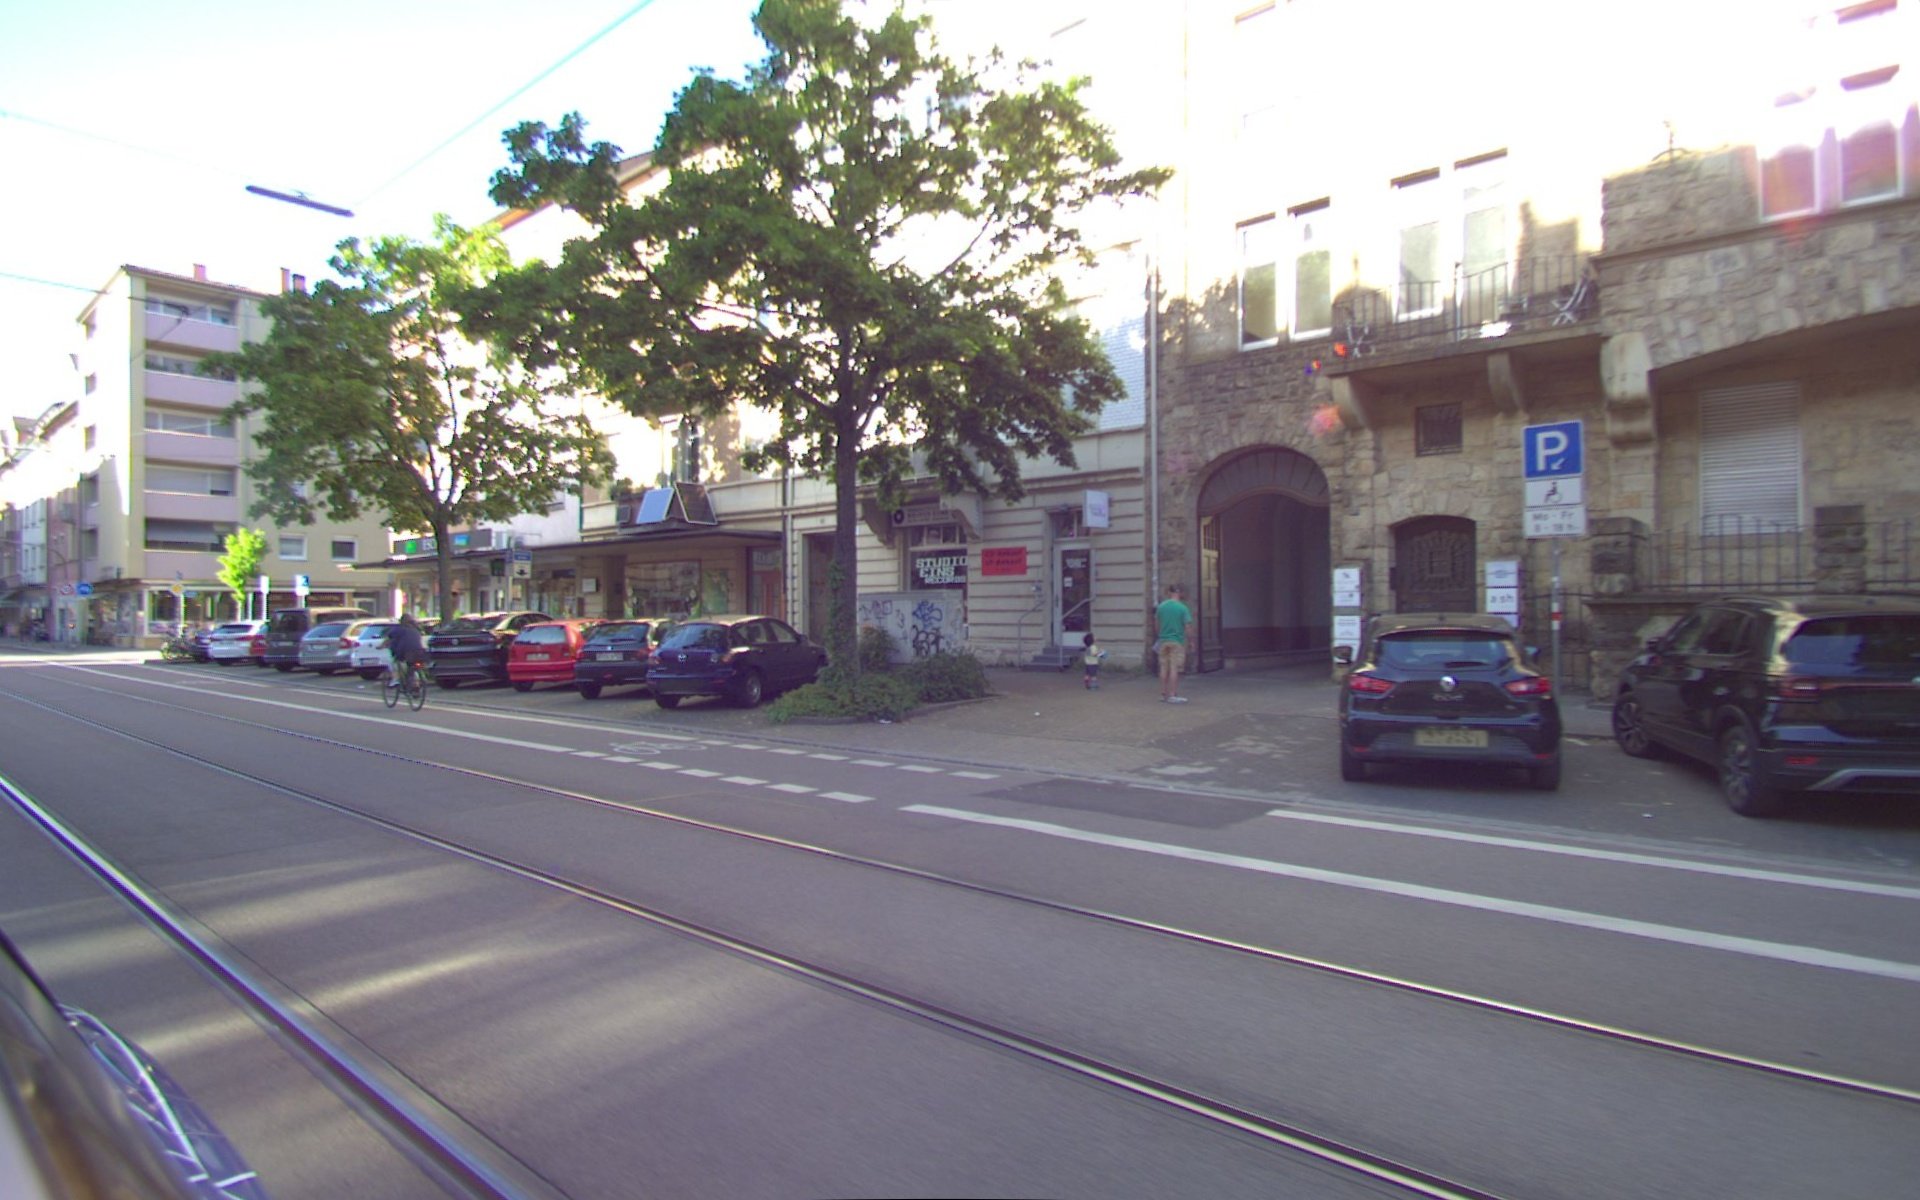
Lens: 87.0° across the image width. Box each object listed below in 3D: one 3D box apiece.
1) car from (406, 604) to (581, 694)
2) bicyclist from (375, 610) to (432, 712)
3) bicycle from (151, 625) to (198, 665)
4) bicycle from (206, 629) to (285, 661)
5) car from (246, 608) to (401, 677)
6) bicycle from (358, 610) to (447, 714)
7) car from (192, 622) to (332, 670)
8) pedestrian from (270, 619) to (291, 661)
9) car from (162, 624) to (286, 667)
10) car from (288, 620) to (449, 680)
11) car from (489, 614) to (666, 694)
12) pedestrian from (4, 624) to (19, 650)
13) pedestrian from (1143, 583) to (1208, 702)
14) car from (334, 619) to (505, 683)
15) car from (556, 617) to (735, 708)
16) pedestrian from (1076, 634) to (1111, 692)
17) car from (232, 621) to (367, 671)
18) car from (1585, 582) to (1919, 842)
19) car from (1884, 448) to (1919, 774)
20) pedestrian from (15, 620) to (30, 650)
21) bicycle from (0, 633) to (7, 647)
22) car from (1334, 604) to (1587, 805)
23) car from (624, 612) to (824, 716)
[{"bbox_3d":[-10.310,1.008,22.769,1.967,1.796,4.367,-1,0,-1],"label":"car"},{"bbox_3d":[-9.529,1.028,17.332,0.726,1.694,0.627,-1,0,41],"label":"bicyclist"},{"bbox_3d":[-27.769,1.608,35.757,2.431,1.329,0.675,-4,-2,37],"label":"bicycle"},{"bbox_3d":[-27.289,1.717,38.690,2.396,1.118,0.685,-2,-2,-9],"label":"bicycle"},{"bbox_3d":[-18.644,1.195,29.856,1.777,1.798,3.812,-1,1,10],"label":"car"},{"bbox_3d":[-9.627,1.023,17.442,2.096,1.691,0.673,-1,0,41],"label":"bicycle"},{"bbox_3d":[-23.026,1.483,33.566,1.734,1.410,3.783,-1,0,8],"label":"car"},{"bbox_3d":[-27.688,1.625,41.249,0.641,1.665,0.563,-1,0,41],"label":"pedestrian"},{"bbox_3d":[-25.669,1.559,35.425,1.605,1.347,3.464,-1,0,7],"label":"car"},{"bbox_3d":[-16.292,1.329,28.113,1.681,1.460,4.006,-1,0,11],"label":"car"},{"bbox_3d":[-7.997,1.078,21.584,1.846,1.500,3.990,-1,0,8],"label":"car"},{"bbox_3d":[-57.907,2.253,61.782,0.623,1.560,0.629,-1,0,40],"label":"pedestrian"},{"bbox_3d":[3.237,0.620,15.220,0.761,1.739,0.572,-1,0,40],"label":"pedestrian"},{"bbox_3d":[-13.762,1.252,26.002,1.749,1.440,3.826,-1,0,15],"label":"car"},{"bbox_3d":[-5.941,1.124,19.651,1.785,1.500,3.990,-1,0,8],"label":"car"},{"bbox_3d":[2.241,1.046,16.948,0.459,0.929,0.350,-1,0,40],"label":"pedestrian"},{"bbox_3d":[-20.799,1.424,32.009,1.631,1.484,3.458,-1,-1,12],"label":"car"},{"bbox_3d":[6.717,0.696,8.212,1.697,1.630,3.980,-1,0,15],"label":"car"},{"bbox_3d":[8.595,0.085,6.157,1.787,2.770,5.370,-1,0,11],"label":"car"},{"bbox_3d":[-53.974,2.022,58.258,0.616,1.698,0.557,-1,0,39],"label":"pedestrian"},{"bbox_3d":[-75.489,3.121,79.659,2.328,1.068,0.420,-1,0,41],"label":"bicycle"},{"bbox_3d":[4.758,0.815,9.901,1.795,1.500,3.967,-1,0,24],"label":"car"},{"bbox_3d":[-3.881,0.996,17.356,1.788,1.500,3.984,-1,0,13],"label":"car"}]
